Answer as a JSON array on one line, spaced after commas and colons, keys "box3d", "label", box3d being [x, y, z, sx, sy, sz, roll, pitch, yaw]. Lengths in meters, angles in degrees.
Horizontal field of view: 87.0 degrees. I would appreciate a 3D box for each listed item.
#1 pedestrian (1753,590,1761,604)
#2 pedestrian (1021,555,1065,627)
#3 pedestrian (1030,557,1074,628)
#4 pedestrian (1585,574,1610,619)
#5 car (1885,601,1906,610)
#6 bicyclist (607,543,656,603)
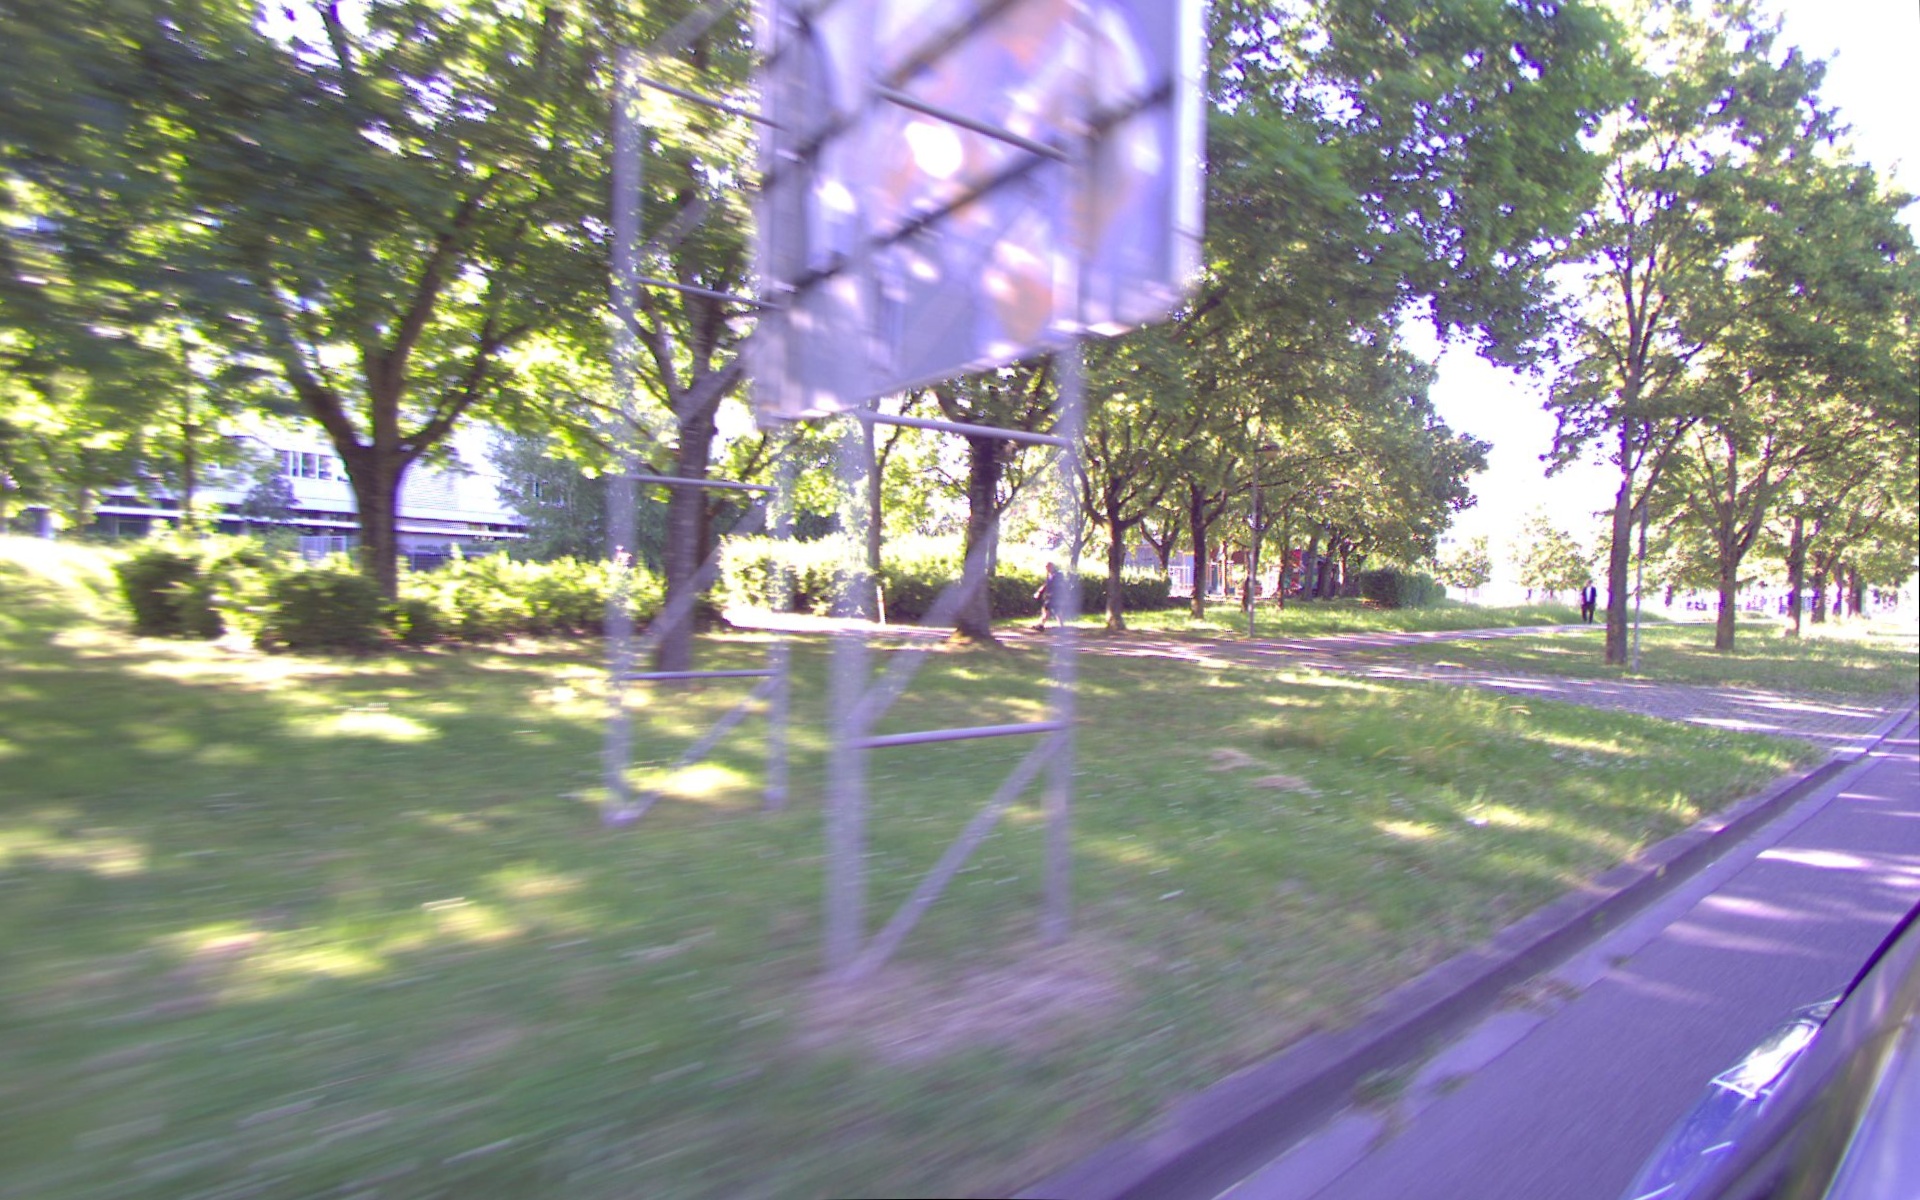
[{"box3d": [101.848, -0.400, 129.371, 0.728, 1.718, 0.726, 1, 0, 35], "label": "pedestrian"}, {"box3d": [2.003, -0.224, 24.453, 0.827, 1.713, 0.638, 0, 1, -32], "label": "pedestrian"}, {"box3d": [2.163, -0.190, 23.826, 0.827, 1.642, 0.549, 0, 1, -32], "label": "pedestrian"}, {"box3d": [26.112, -0.150, 41.453, 0.716, 1.826, 0.781, 1, 0, 45], "label": "pedestrian"}, {"box3d": [170.367, 1.000, 184.352, 1.817, 1.731, 4.200, 1, 1, 28], "label": "car"}, {"box3d": [-8.252, -0.689, 25.428, 0.837, 1.468, 0.785, 1, 1, 27], "label": "bicyclist"}]
